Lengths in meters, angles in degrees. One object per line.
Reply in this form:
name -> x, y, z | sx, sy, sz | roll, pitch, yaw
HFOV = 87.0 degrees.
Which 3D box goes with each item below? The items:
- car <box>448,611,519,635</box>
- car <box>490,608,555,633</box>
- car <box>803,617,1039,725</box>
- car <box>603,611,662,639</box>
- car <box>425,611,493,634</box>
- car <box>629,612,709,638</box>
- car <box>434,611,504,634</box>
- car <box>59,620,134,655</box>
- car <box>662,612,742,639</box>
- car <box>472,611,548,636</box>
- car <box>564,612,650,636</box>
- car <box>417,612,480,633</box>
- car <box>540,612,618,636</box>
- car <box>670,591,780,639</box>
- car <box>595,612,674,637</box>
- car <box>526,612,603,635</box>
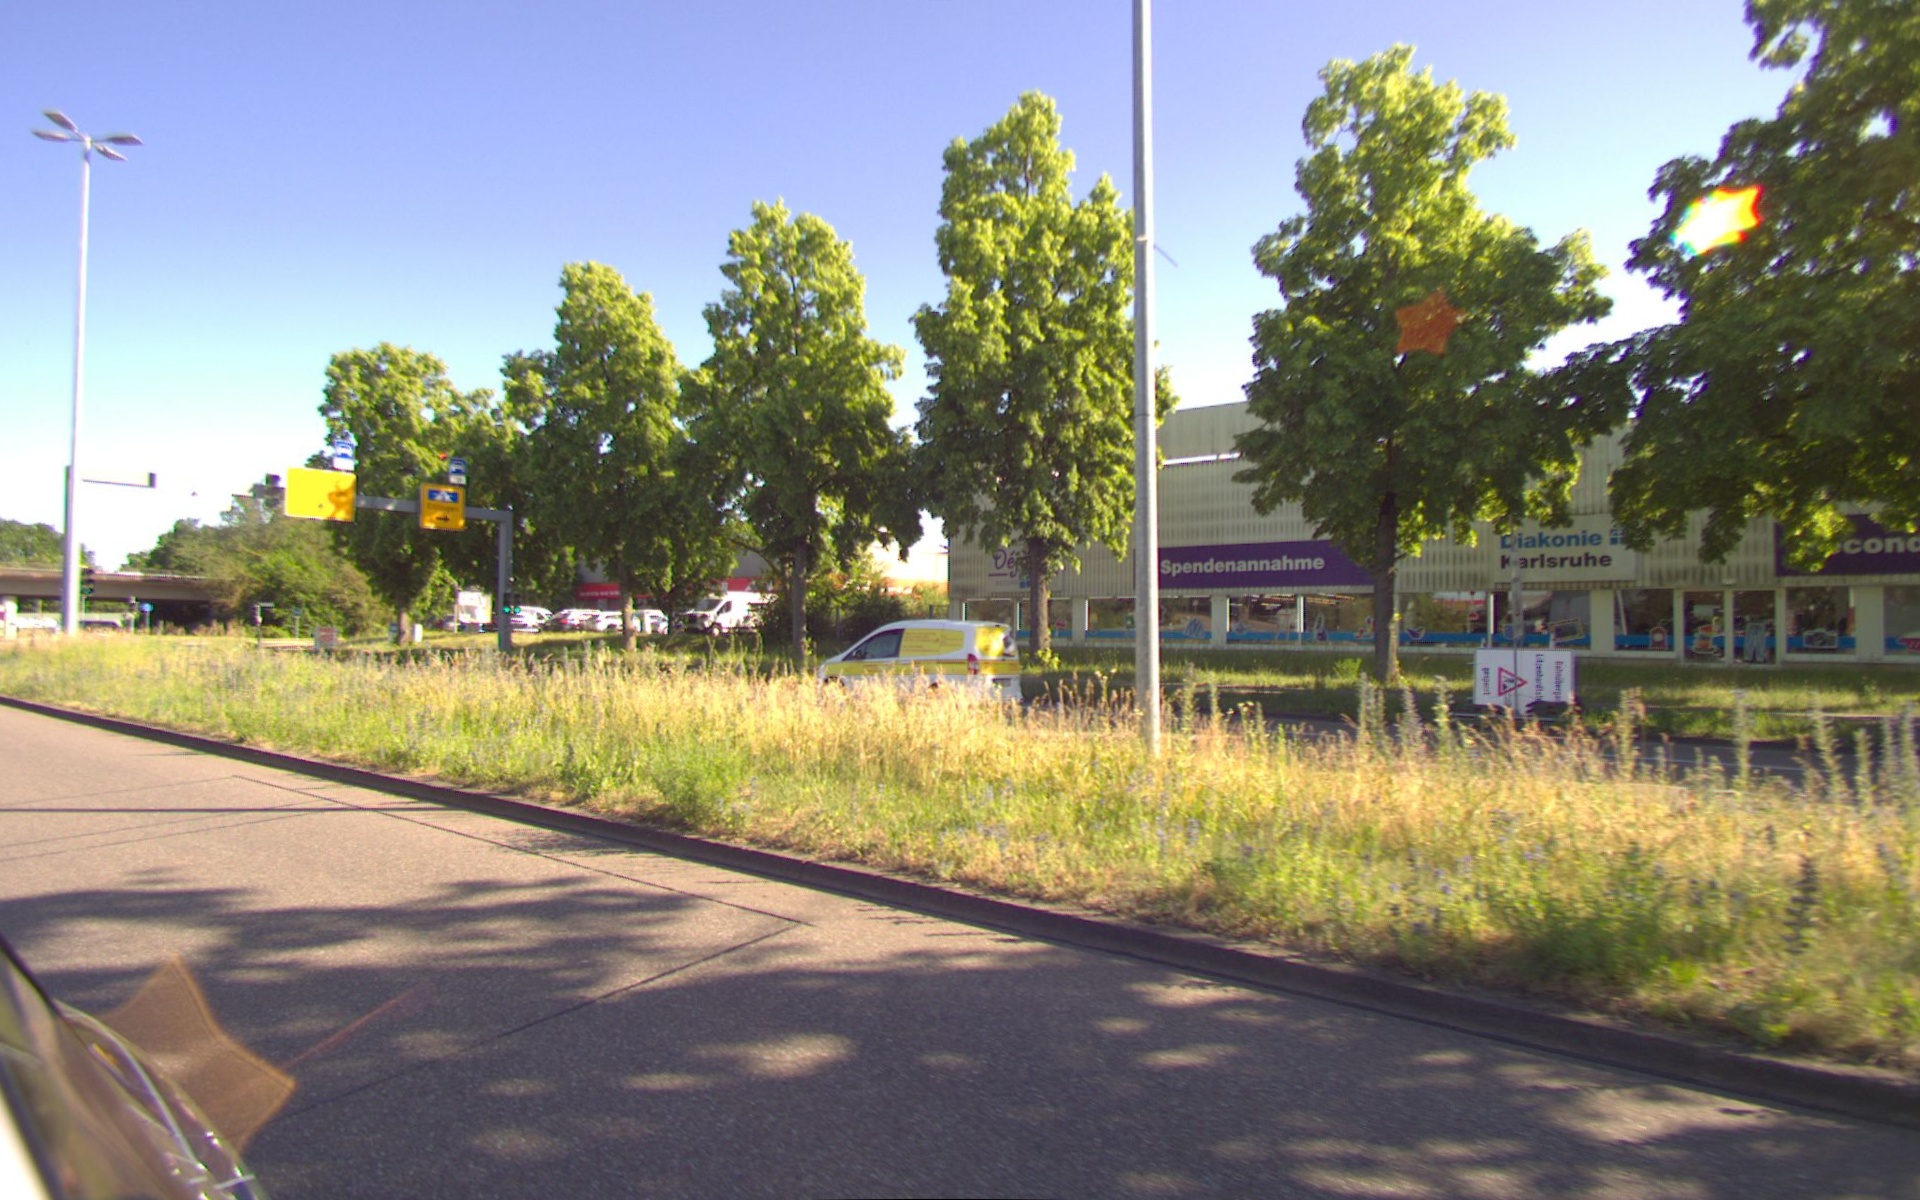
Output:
car -> -32.945, 1.604, 70.070 | 1.818, 1.563, 4.074 | -1, -3, 42
car -> -38.771, 1.796, 89.767 | 4.983, 2.168, 1.892 | 0, -2, 5
car -> -0.770, 1.196, 18.400 | 4.157, 1.760, 1.691 | -1, -2, 36
car -> -24.111, 1.850, 74.398 | 5.126, 1.971, 1.761 | -1, -3, 41
car -> -36.377, 1.660, 73.461 | 4.067, 1.563, 1.898 | 2, -3, -41
car -> -16.528, 1.452, 57.651 | 1.941, 1.399, 4.084 | -1, -2, 33
car -> -34.719, 1.644, 71.659 | 4.068, 1.563, 1.898 | 2, -3, -42
car -> -44.545, 1.961, 52.197 | 4.622, 1.710, 1.924 | -1, -4, 37
car -> -14.316, 1.443, 56.257 | 1.941, 1.399, 4.084 | -1, -2, 33
car -> -29.344, 1.577, 66.048 | 1.945, 1.563, 4.077 | -1, -3, 39
car -> -21.054, 1.455, 60.495 | 1.943, 1.399, 4.576 | -1, -3, 37
car -> -38.711, 1.724, 76.591 | 4.061, 1.563, 1.901 | 2, -2, -31
car -> -23.133, 1.467, 61.528 | 1.941, 1.399, 4.084 | -1, -2, 33
car -> -12.508, 0.886, 54.358 | 2.201, 2.452, 5.829 | -1, -2, 33
car -> -18.852, 1.458, 58.797 | 1.941, 1.399, 4.084 | -1, -2, 33
car -> -24.676, 1.479, 63.298 | 1.942, 1.399, 4.081 | -1, -2, 36
